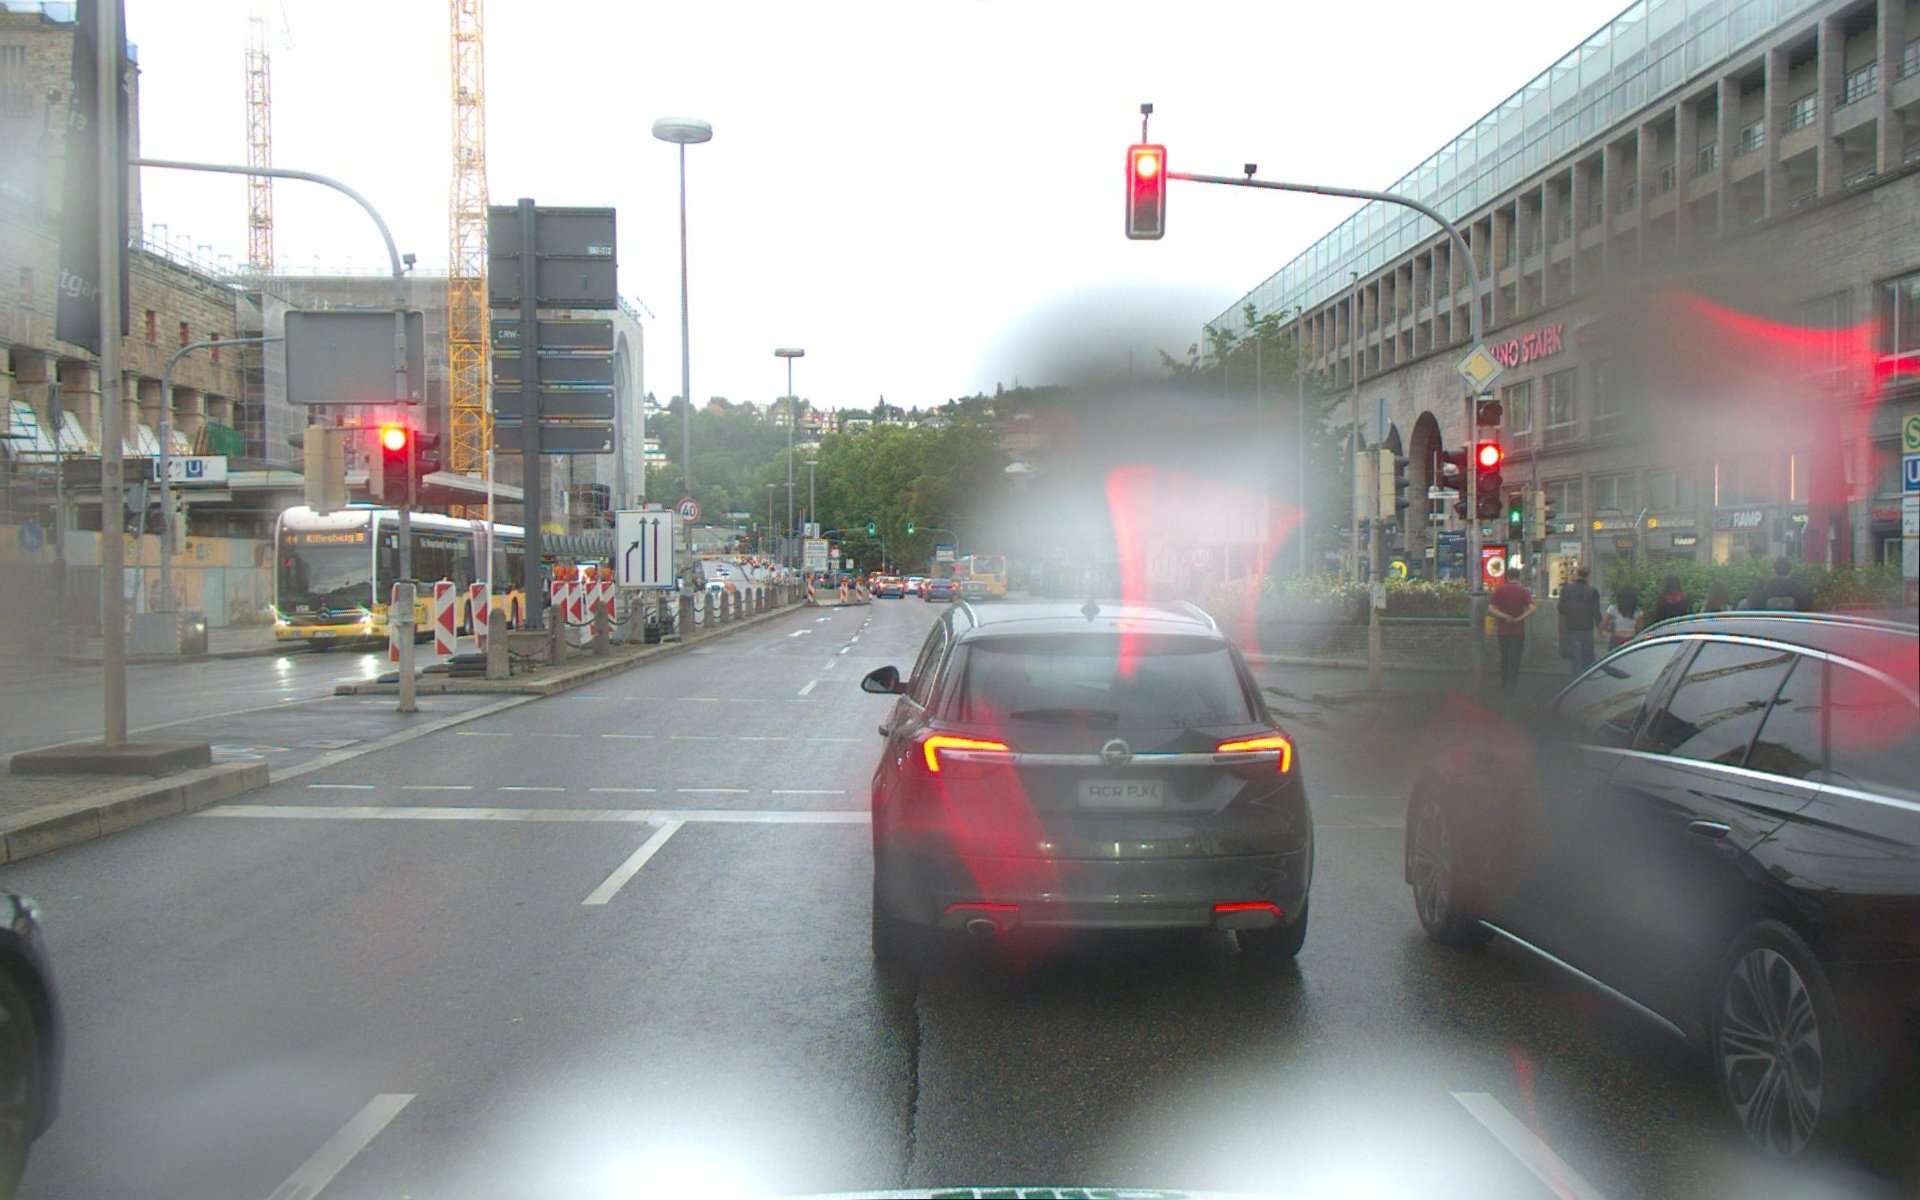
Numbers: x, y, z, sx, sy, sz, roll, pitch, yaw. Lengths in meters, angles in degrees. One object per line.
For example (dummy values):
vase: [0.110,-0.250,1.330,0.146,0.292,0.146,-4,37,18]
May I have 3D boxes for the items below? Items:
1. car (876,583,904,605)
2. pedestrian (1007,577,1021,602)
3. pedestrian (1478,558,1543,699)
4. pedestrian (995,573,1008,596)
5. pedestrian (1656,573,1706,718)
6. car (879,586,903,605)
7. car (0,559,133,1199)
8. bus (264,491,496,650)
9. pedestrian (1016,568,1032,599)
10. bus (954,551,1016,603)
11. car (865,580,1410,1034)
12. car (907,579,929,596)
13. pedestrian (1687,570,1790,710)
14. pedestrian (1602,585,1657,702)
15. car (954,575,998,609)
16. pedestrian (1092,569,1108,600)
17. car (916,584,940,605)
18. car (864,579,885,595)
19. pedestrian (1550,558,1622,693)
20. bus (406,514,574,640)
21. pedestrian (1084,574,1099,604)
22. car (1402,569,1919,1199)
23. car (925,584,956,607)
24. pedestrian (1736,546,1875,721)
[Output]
car: [-4.807,-0.412,114.361,1.808,1.422,3.563,1,0,-1]
pedestrian: [4.781,-0.897,146.971,1.174,2.186,1.228,1,0,0]
pedestrian: [7.126,0.357,21.390,0.560,1.783,0.676,1,0,42]
pedestrian: [3.972,-1.482,158.126,1.174,2.186,1.228,1,0,0]
pedestrian: [9.061,0.561,20.790,0.471,1.782,0.666,-2,0,19]
car: [-5.424,-0.375,130.865,1.808,1.422,3.563,1,0,-1]
car: [-2.938,0.642,1.777,1.817,1.495,4.586,1,0,-1]
bus: [-14.990,-0.684,43.775,2.614,3.665,10.237,1,0,-1]
pedestrian: [5.162,-1.304,133.710,1.174,2.478,1.228,1,0,0]
bus: [1.701,-1.568,120.898,4.089,3.529,14.651,1,0,-1]
car: [0.564,0.708,7.616,1.837,1.512,3.999,1,0,-1]
car: [-3.568,-1.039,141.517,1.808,1.422,3.563,1,0,-1]
pedestrian: [9.490,0.479,20.186,0.778,1.654,0.899,1,0,-4]
pedestrian: [8.492,0.548,20.986,0.617,1.452,0.490,1,0,21]
car: [0.674,-0.358,72.578,1.808,1.422,3.666,1,0,-1]
pedestrian: [8.003,-0.873,94.395,0.748,1.720,0.824,1,0,-5]
car: [-2.328,-0.384,120.728,1.717,1.422,4.401,1,0,-1]
car: [-7.701,-1.162,149.834,1.723,1.422,3.563,1,0,-1]
pedestrian: [8.214,0.336,21.721,0.740,1.747,0.466,1,0,-5]
bus: [-15.081,-0.674,53.996,2.614,3.665,10.209,1,0,-1]
pedestrian: [7.599,-0.636,95.541,0.748,1.720,0.824,1,0,-5]
car: [3.001,0.711,5.448,1.757,1.528,4.627,1,0,-1]
car: [-1.233,-0.277,103.452,1.718,1.422,4.645,1,0,-3]
pedestrian: [8.952,0.347,17.534,1.074,1.782,0.653,-2,0,-4]
